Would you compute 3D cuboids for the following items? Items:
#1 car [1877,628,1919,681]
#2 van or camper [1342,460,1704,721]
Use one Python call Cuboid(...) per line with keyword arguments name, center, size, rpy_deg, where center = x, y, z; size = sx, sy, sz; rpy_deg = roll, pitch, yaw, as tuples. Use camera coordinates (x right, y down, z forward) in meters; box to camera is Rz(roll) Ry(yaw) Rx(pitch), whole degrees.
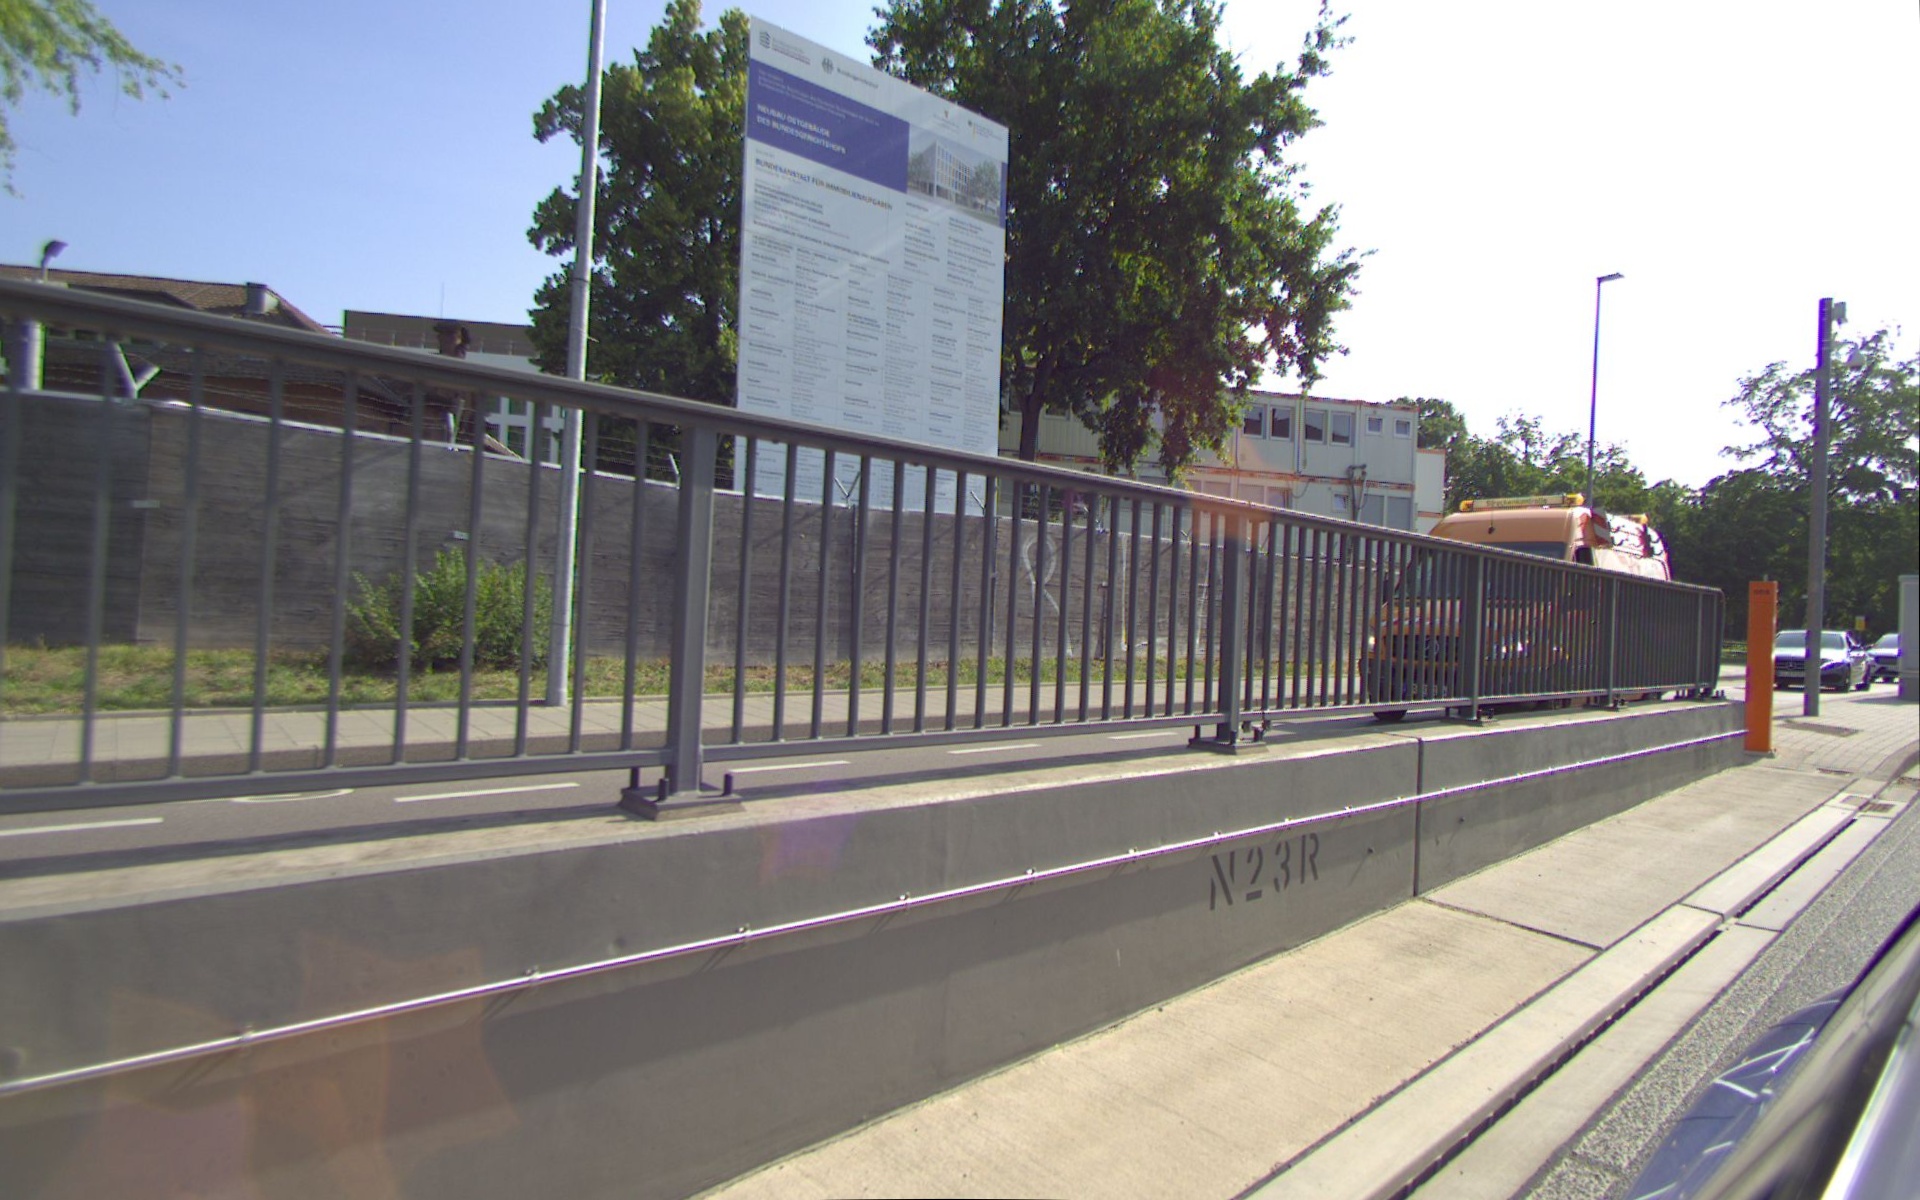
Cuboid(name="car", center=(30.715, 1.729, 32.047), size=(4.173, 1.591, 1.896), rpy_deg=(2, -2, -39))
Cuboid(name="van or camper", center=(7.126, -0.028, 12.425), size=(5.955, 2.504, 1.989), rpy_deg=(1, -2, -41))
